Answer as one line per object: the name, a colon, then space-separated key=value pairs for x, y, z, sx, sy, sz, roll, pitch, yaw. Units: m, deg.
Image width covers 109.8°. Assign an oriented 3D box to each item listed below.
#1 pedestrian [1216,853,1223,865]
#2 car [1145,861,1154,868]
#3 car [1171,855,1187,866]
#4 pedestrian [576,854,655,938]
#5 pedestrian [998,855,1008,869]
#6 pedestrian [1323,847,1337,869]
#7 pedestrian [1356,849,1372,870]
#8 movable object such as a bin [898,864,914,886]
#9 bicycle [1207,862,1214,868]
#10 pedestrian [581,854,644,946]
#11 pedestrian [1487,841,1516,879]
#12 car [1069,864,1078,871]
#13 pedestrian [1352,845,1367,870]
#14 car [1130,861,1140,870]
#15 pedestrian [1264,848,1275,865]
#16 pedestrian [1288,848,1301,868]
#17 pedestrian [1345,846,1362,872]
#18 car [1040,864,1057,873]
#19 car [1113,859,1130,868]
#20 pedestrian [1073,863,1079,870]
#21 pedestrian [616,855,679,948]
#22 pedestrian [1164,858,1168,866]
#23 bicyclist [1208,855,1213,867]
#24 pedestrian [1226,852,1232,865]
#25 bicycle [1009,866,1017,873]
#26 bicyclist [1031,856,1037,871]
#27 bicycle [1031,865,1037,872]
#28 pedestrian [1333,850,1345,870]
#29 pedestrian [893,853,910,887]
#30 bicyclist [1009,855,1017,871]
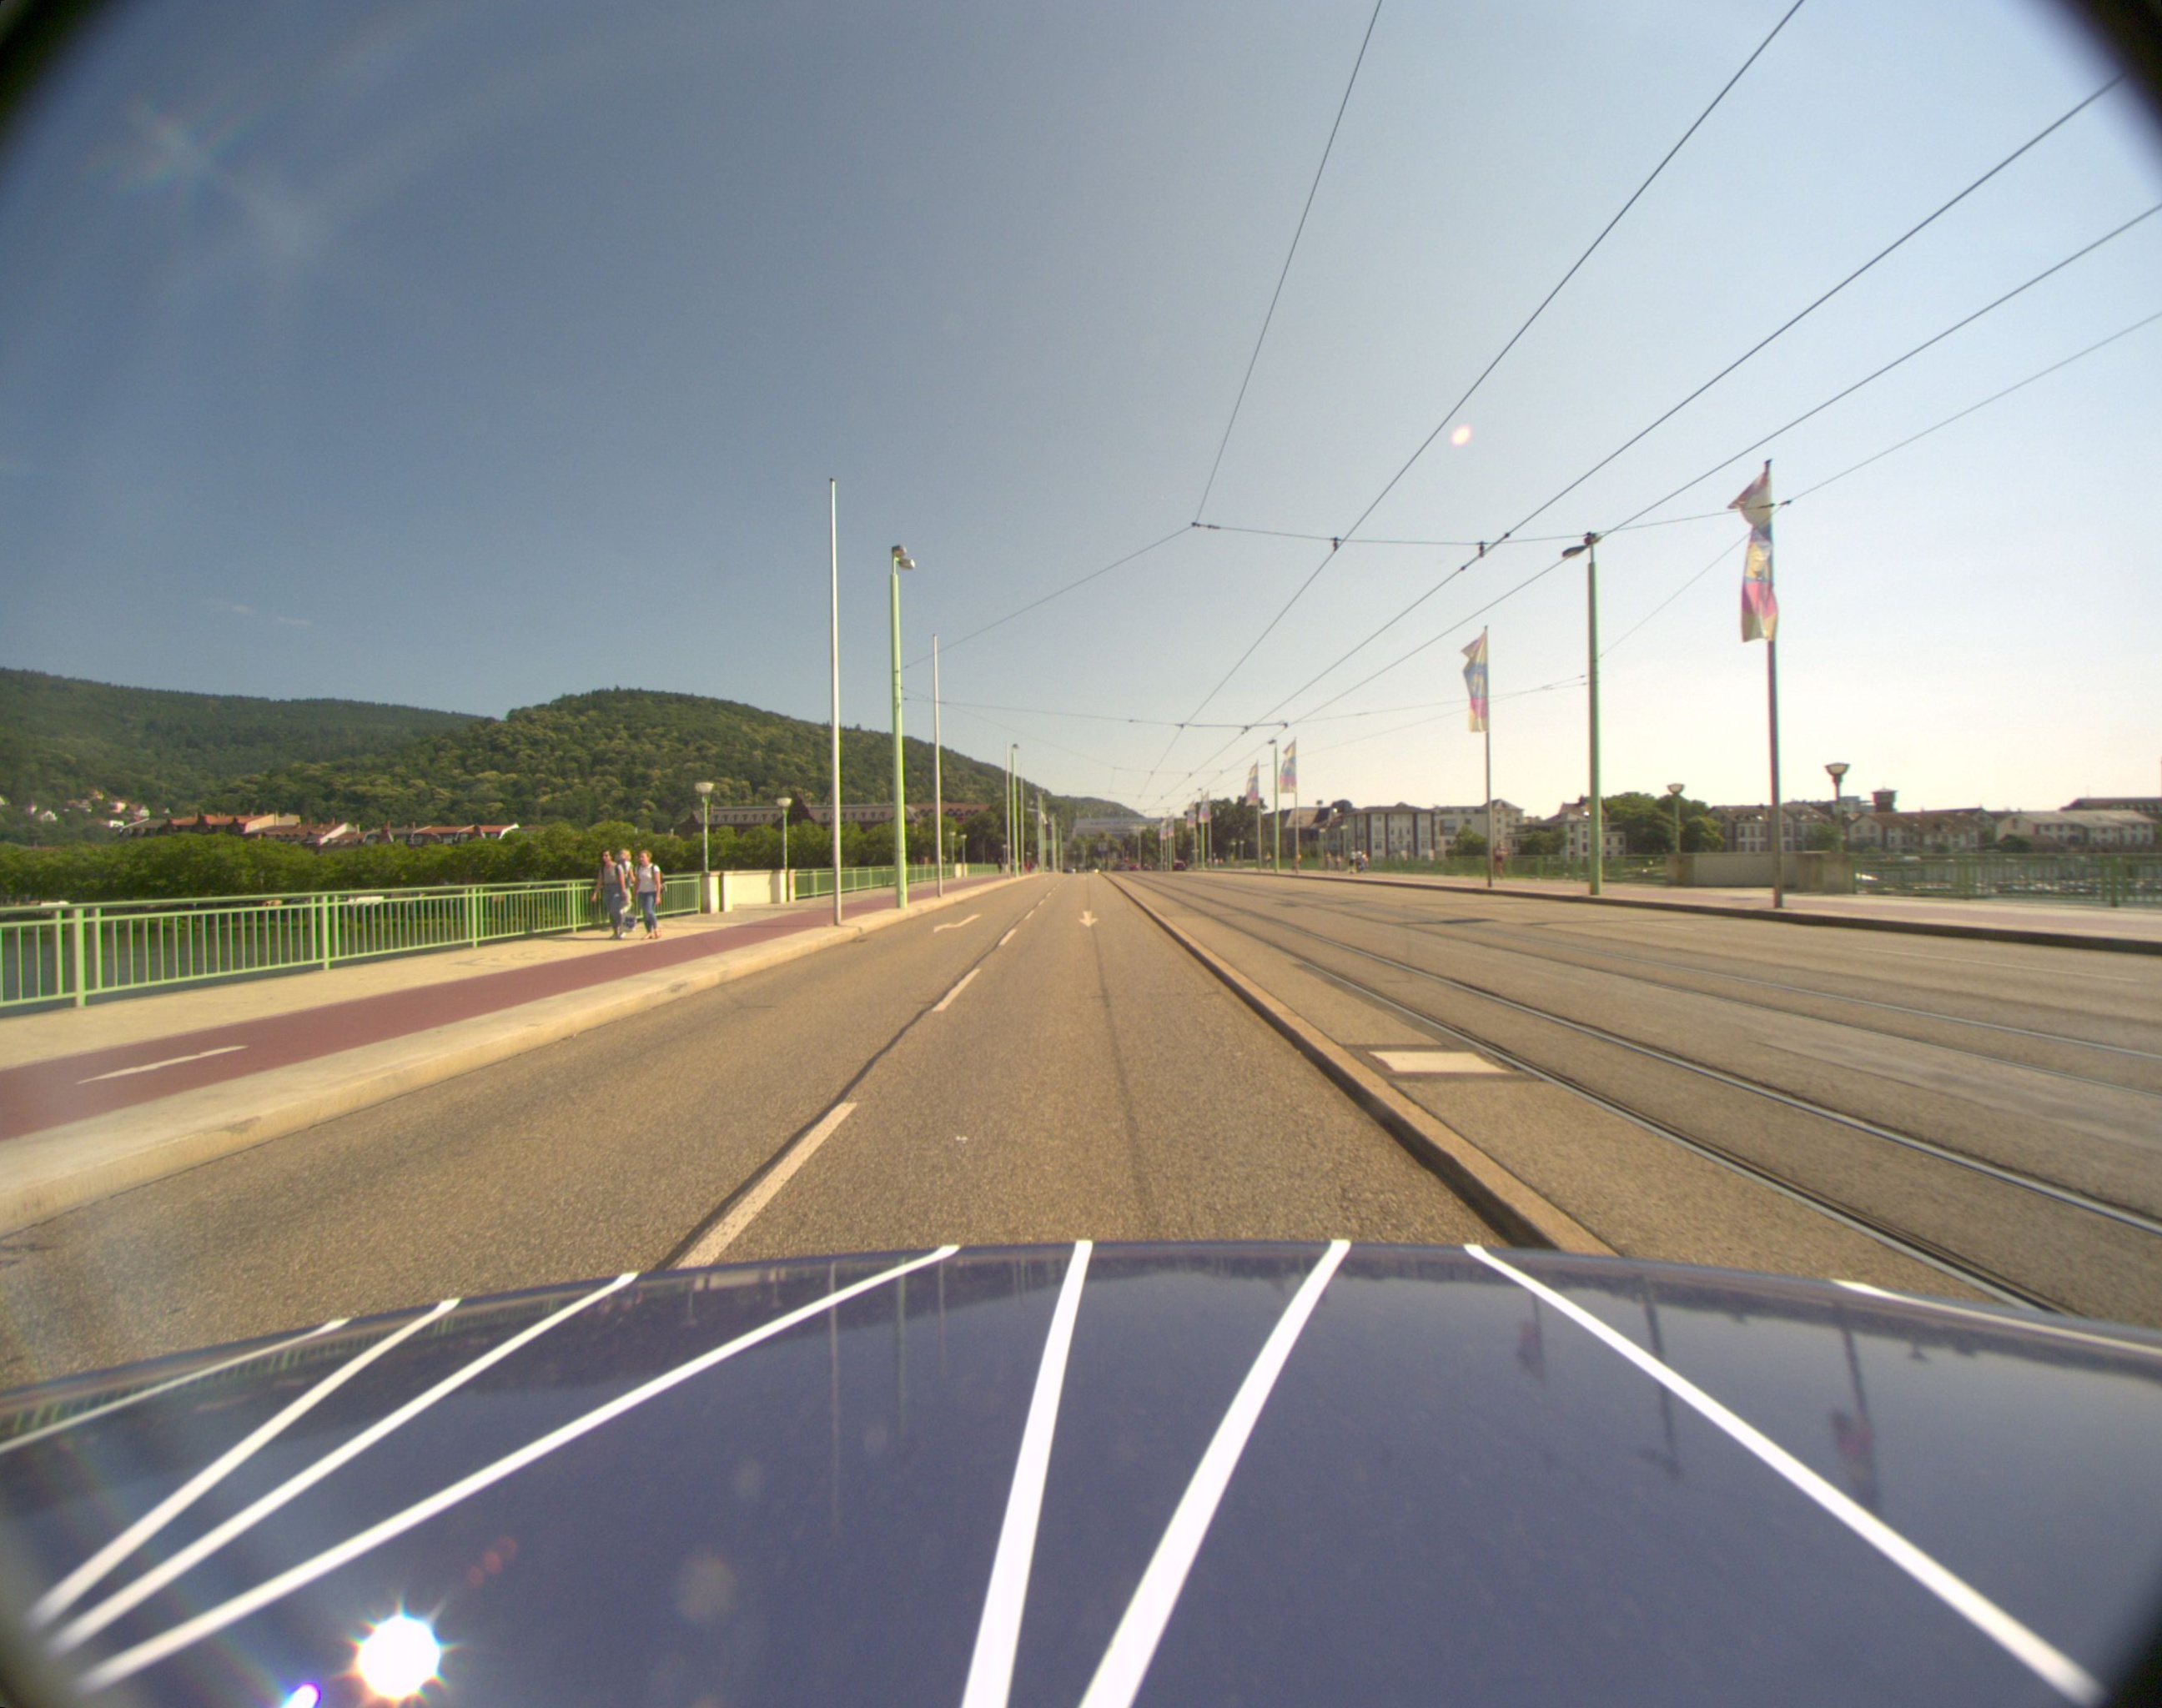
pedestrian: x=20.107 y=0.656 z=110.437 sx=0.592 sy=1.690 sz=1.022 roll=-6 pitch=1 yaw=0
car: x=14.283 y=2.174 z=158.035 sx=1.672 sy=1.428 sz=4.000 roll=-1 pitch=1 yaw=1
car: x=13.635 y=0.928 z=106.254 sx=1.721 sy=1.446 sz=3.901 roll=0 pitch=0 yaw=0
pedestrian: x=-9.492 y=0.835 z=15.555 sx=0.950 sy=1.653 sz=1.082 roll=0 pitch=1 yaw=0
pedestrian: x=-8.836 y=0.911 z=86.003 sx=0.950 sy=1.653 sz=1.082 roll=1 pitch=0 yaw=0
pedestrian: x=18.517 y=0.301 z=56.533 sx=0.627 sy=1.590 sz=1.022 roll=-3 pitch=1 yaw=0
pedestrian: x=18.944 y=0.370 z=50.834 sx=0.592 sy=1.406 sz=1.022 roll=-3 pitch=1 yaw=0
movable object such as a bin: x=-9.031 y=1.077 z=39.216 sx=0.583 sy=1.084 sz=0.933 roll=0 pitch=0 yaw=0
bicycle: x=17.686 y=1.482 z=103.627 sx=0.667 sy=0.712 sz=2.173 roll=-1 pitch=0 yaw=1
pedestrian: x=-8.651 y=0.828 z=14.052 sx=0.669 sy=1.649 sz=0.746 roll=0 pitch=1 yaw=0
pedestrian: x=19.459 y=0.259 z=35.156 sx=0.686 sy=1.681 sz=1.022 roll=-3 pitch=1 yaw=0
car: x=-1.725 y=3.238 z=181.260 sx=1.998 sy=1.379 sz=4.000 roll=-6 pitch=0 yaw=1
pedestrian: x=19.435 y=0.255 z=52.998 sx=0.592 sy=1.690 sz=1.022 roll=-3 pitch=1 yaw=0
car: x=11.070 y=2.319 z=156.013 sx=1.714 sy=1.686 sz=4.000 roll=-5 pitch=0 yaw=1
pedestrian: x=19.448 y=0.283 z=78.246 sx=0.787 sy=1.690 sz=1.022 roll=-3 pitch=1 yaw=0
pedestrian: x=18.413 y=0.360 z=65.514 sx=0.787 sy=1.690 sz=1.022 roll=-3 pitch=1 yaw=0
pedestrian: x=18.266 y=0.316 z=50.932 sx=0.671 sy=1.690 sz=1.022 roll=-3 pitch=1 yaw=0
car: x=-8.305 y=3.634 z=193.599 sx=3.997 sy=2.002 sz=2.000 roll=-6 pitch=1 yaw=-2
car: x=10.471 y=2.498 z=194.651 sx=3.998 sy=2.002 sz=2.000 roll=-6 pitch=1 yaw=-2
pedestrian: x=-1.329 y=3.319 z=203.463 sx=1.202 sy=2.002 sz=1.034 roll=-3 pitch=2 yaw=-7
pedestrian: x=-7.968 y=0.850 z=14.002 sx=0.664 sy=1.649 sz=0.825 roll=0 pitch=1 yaw=0
pedestrian: x=18.462 y=1.744 z=164.940 sx=0.787 sy=1.690 sz=1.022 roll=-3 pitch=1 yaw=0
bicyclist: x=17.666 y=0.904 z=103.660 sx=0.666 sy=1.641 sz=0.622 roll=-1 pitch=1 yaw=1
pedestrian: x=20.842 y=0.617 z=107.006 sx=0.592 sy=1.690 sz=0.905 roll=-6 pitch=1 yaw=0
bicycle: x=-7.010 y=1.606 z=78.511 sx=0.595 sy=0.761 sz=1.866 roll=0 pitch=0 yaw=1
bicyclist: x=-5.689 y=1.104 z=91.708 sx=0.587 sy=1.759 sz=0.672 roll=0 pitch=1 yaw=1
bicycle: x=-5.680 y=1.767 z=91.676 sx=0.595 sy=0.761 sz=1.866 roll=0 pitch=0 yaw=1
pedestrian: x=19.249 y=0.443 z=56.610 sx=0.547 sy=1.429 sz=0.789 roll=-3 pitch=1 yaw=0
pedestrian: x=-9.045 y=0.788 z=38.358 sx=0.664 sy=1.696 sz=0.859 roll=0 pitch=1 yaw=0
bicyclist: x=-7.037 y=0.898 z=78.340 sx=0.731 sy=1.655 sz=0.844 roll=-1 pitch=1 yaw=1
